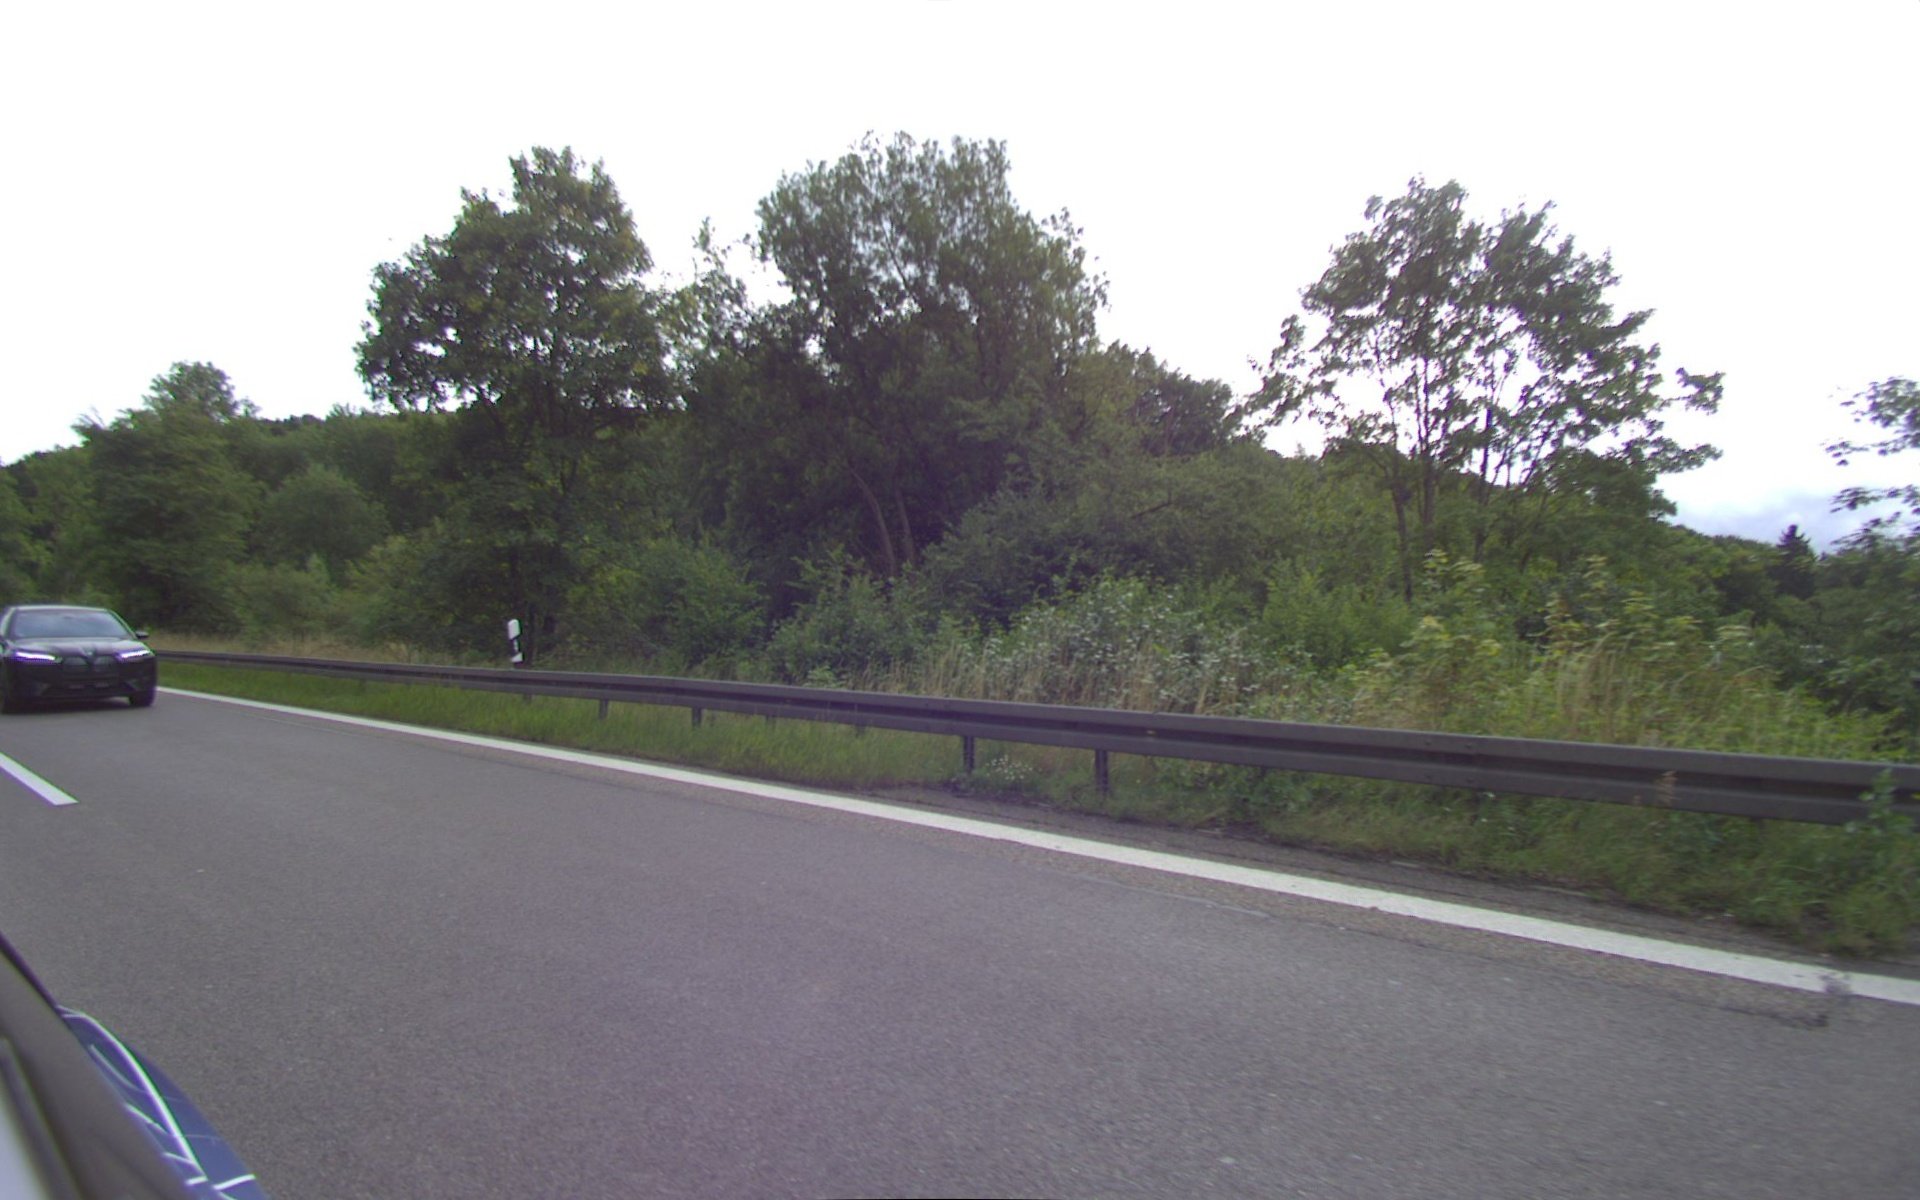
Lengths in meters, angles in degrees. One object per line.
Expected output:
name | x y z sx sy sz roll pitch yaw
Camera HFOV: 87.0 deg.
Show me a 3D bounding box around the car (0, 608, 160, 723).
car | -15.361 1.001 17.200 4.412 1.678 1.973 -1 0 41
